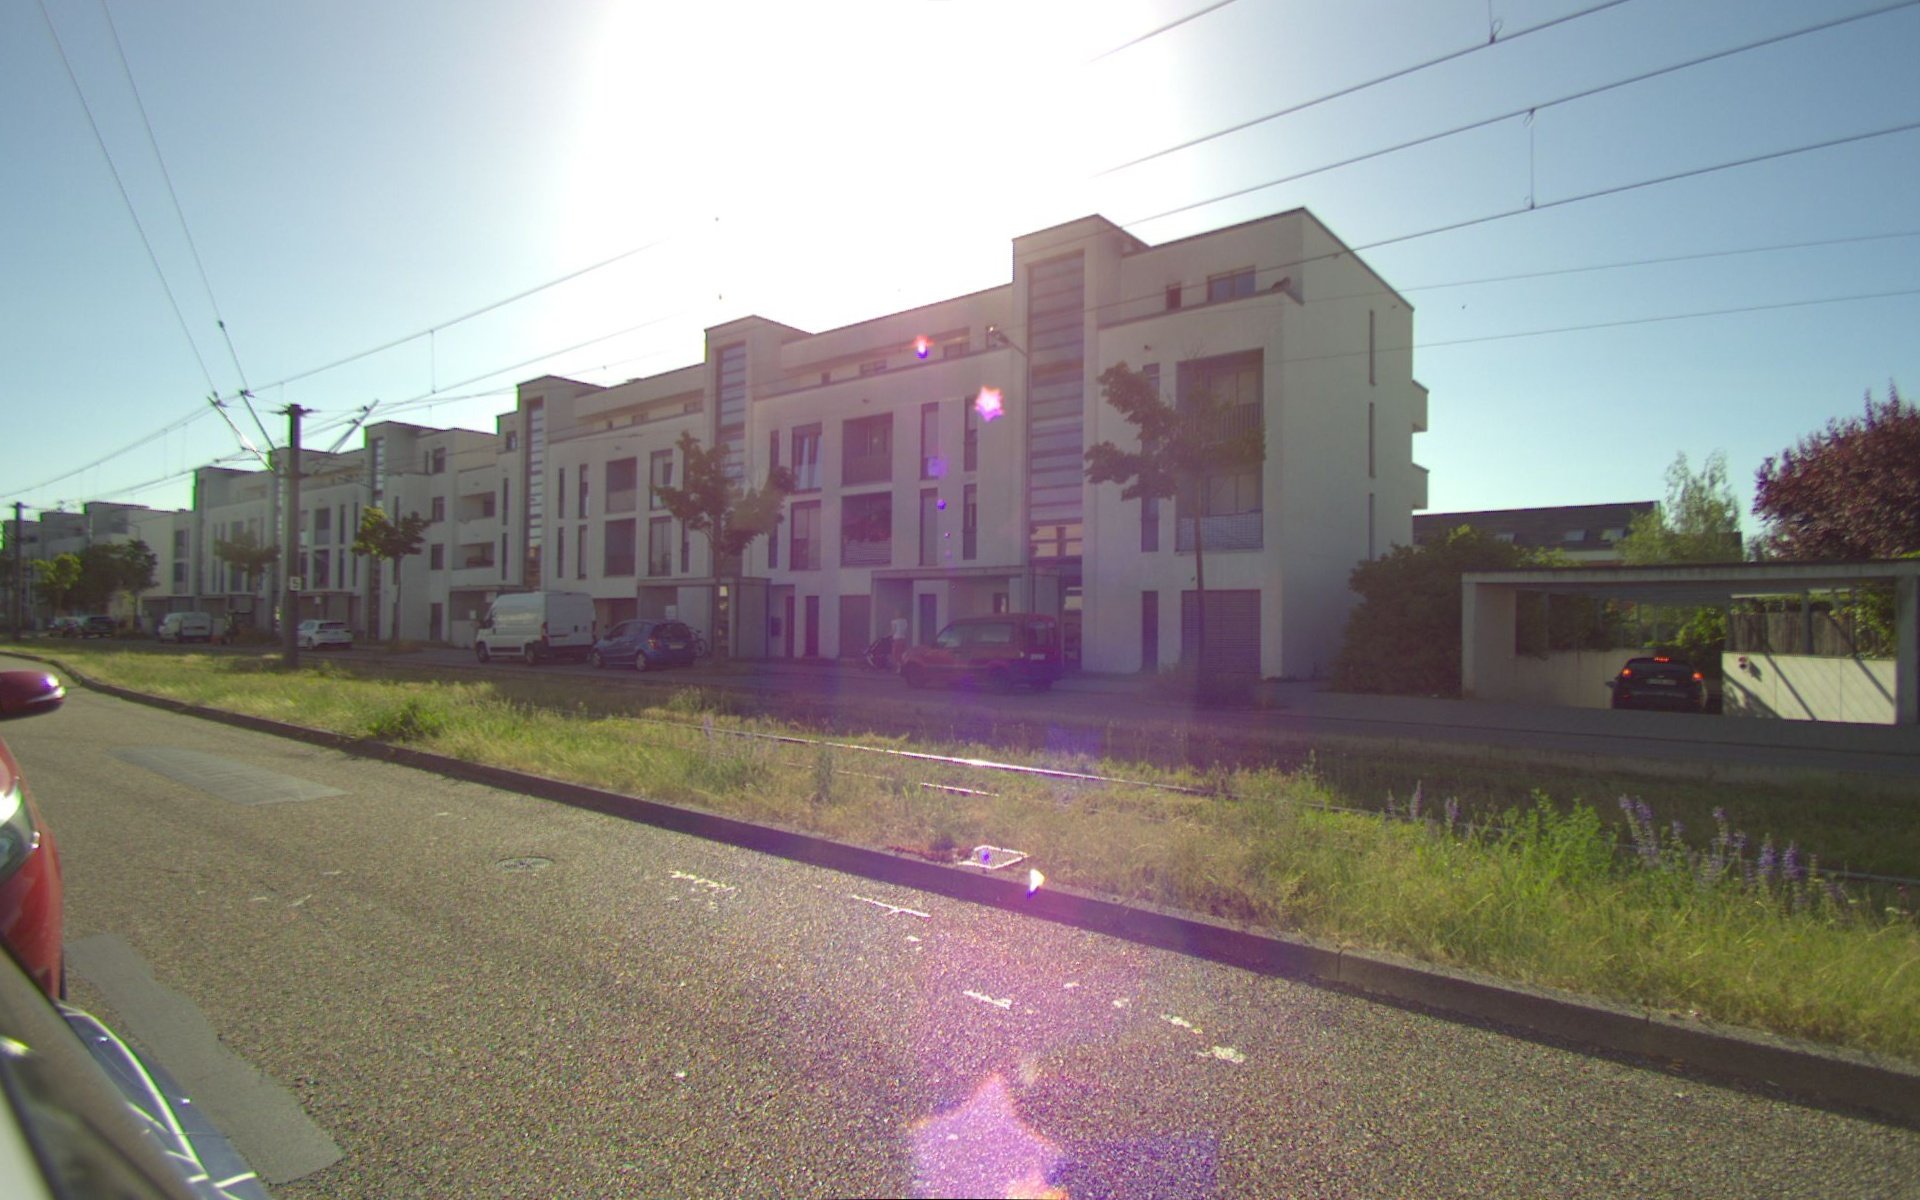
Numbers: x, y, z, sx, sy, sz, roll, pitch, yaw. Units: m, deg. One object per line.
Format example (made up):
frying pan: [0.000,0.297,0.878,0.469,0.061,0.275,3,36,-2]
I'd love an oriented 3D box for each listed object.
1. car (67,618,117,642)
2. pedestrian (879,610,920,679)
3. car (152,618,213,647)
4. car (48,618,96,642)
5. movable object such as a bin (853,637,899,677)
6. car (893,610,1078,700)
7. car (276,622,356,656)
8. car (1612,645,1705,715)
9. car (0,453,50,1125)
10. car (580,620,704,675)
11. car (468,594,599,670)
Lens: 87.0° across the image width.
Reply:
car: [-62.991,2.153,73.412,4.277,1.693,1.900,-1,0,37]
pedestrian: [-1.637,1.185,27.531,0.785,1.836,0.766,-1,0,41]
car: [-47.369,1.952,61.632,4.277,1.693,1.900,-1,0,37]
car: [-67.536,2.243,76.936,4.277,1.693,1.900,-1,0,37]
movable object such as a bin: [-2.333,1.578,28.155,1.083,1.062,0.719,-1,0,42]
car: [0.526,1.164,23.028,3.895,1.842,1.972,-1,0,43]
car: [-31.149,1.831,48.907,4.277,1.517,1.900,-1,0,37]
car: [15.798,1.845,22.810,1.574,1.337,3.950,-1,-7,37]
car: [-4.900,0.553,3.677,4.505,1.868,1.850,-1,0,41]
car: [-10.013,1.443,31.749,3.833,1.556,1.973,-1,0,40]
car: [-15.208,1.069,35.953,5.193,2.491,2.197,-1,0,40]
